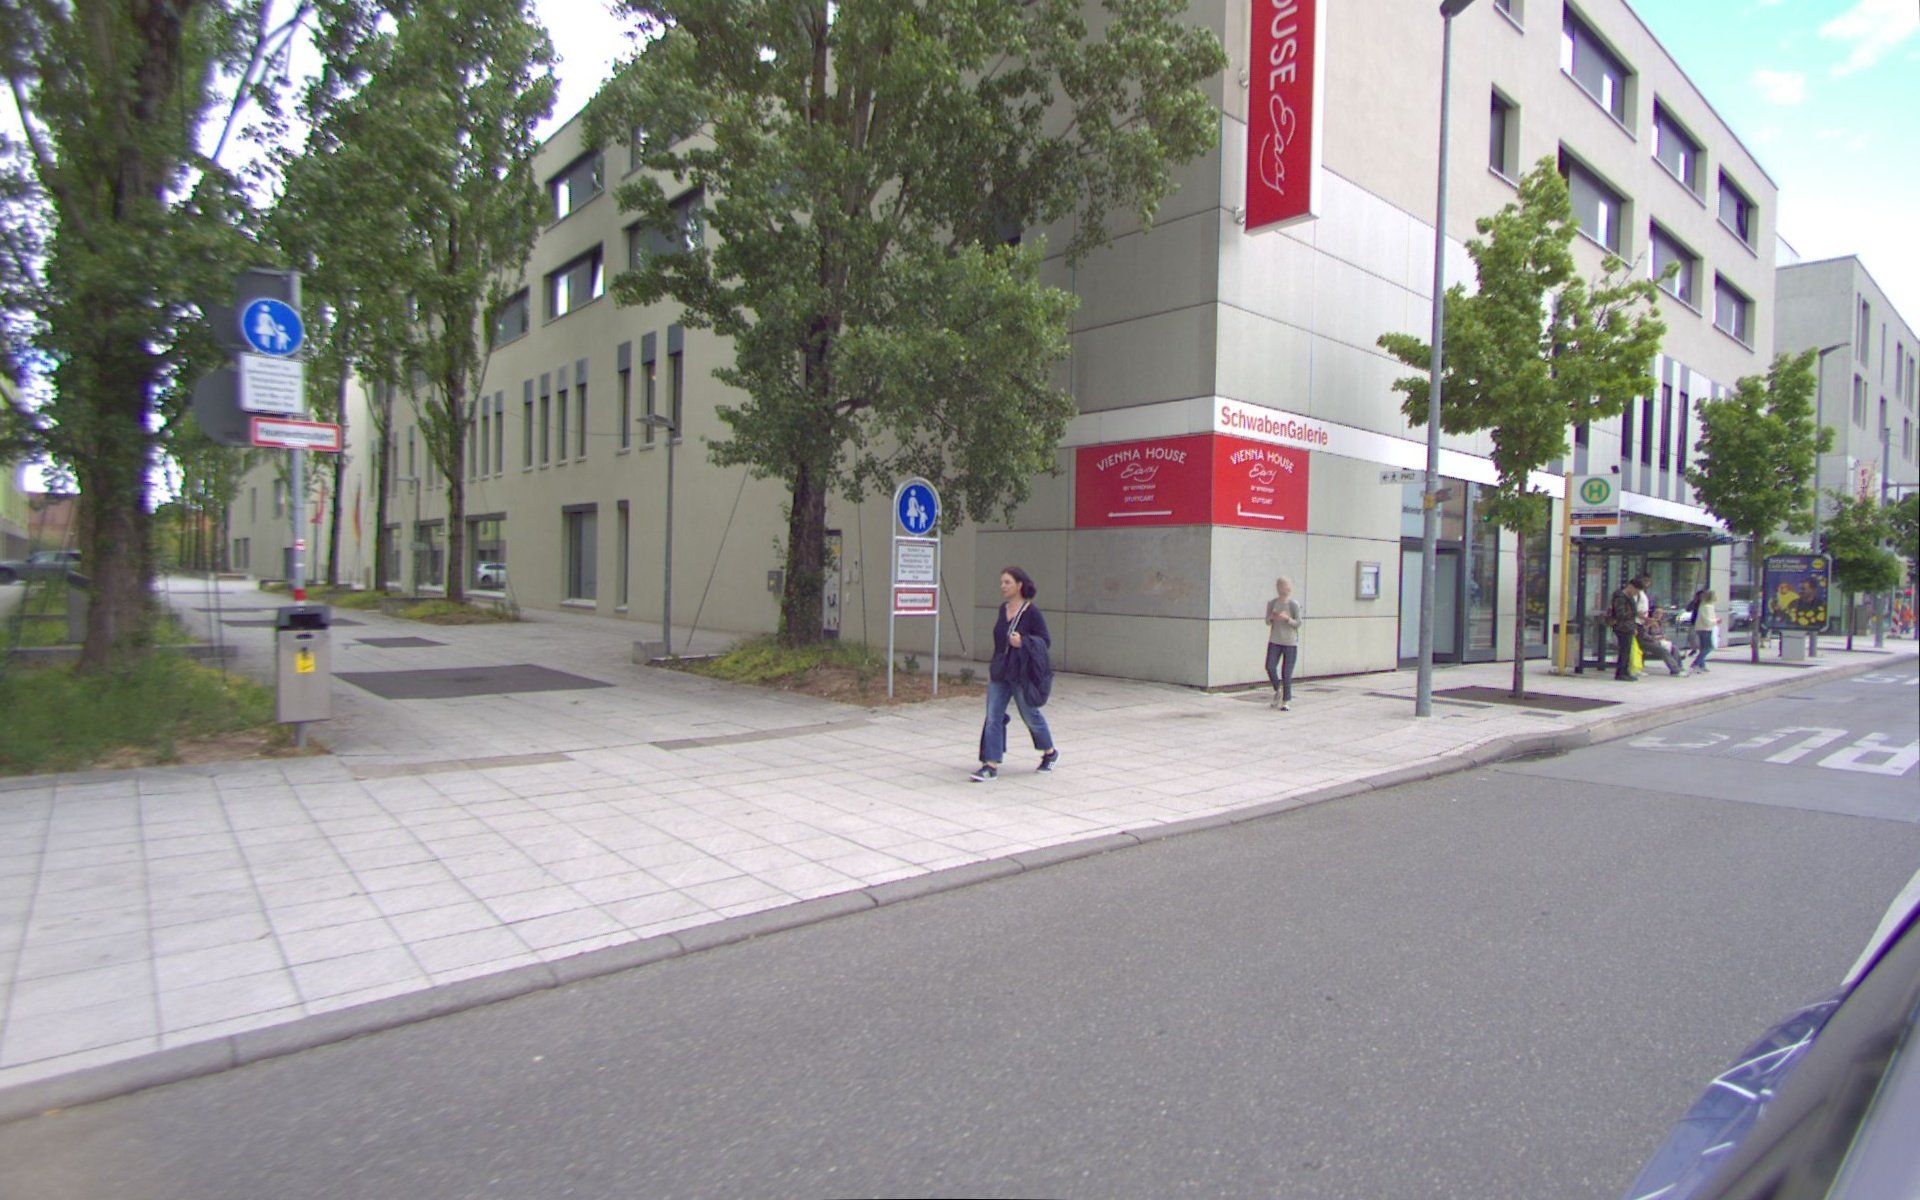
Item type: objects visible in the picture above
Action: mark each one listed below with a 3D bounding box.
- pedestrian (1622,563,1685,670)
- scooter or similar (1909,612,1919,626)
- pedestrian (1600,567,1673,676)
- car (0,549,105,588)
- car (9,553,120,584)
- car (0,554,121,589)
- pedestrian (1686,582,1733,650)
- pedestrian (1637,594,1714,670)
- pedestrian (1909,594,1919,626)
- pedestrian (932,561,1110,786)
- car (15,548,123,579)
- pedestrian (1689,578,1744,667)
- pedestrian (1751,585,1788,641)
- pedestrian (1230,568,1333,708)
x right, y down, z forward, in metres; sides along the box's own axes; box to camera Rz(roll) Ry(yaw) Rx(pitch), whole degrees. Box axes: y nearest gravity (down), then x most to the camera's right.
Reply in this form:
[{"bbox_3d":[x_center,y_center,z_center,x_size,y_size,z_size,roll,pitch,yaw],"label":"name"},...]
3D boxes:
[{"bbox_3d":[11.958,0.269,17.441,0.840,1.791,0.581,0,2,-35],"label":"pedestrian"},{"bbox_3d":[48.792,0.965,51.529,0.754,0.642,0.552,0,3,-41],"label":"scooter or similar"},{"bbox_3d":[11.053,0.328,16.537,0.719,1.704,0.723,0,2,-35],"label":"pedestrian"},{"bbox_3d":[-42.274,-1.416,46.368,4.707,1.675,1.739,0,0,-41],"label":"car"},{"bbox_3d":[-50.826,-1.775,57.570,4.707,1.675,1.739,0,0,-41],"label":"car"},{"bbox_3d":[-45.321,-1.378,50.951,4.707,1.675,1.739,0,0,-41],"label":"car"},{"bbox_3d":[18.385,0.381,24.826,0.702,1.628,0.742,0,1,-40],"label":"pedestrian"},{"bbox_3d":[12.778,0.548,18.080,0.720,1.274,0.944,0,3,-43],"label":"pedestrian"},{"bbox_3d":[48.297,0.519,50.961,0.719,1.586,0.590,0,3,-41],"label":"pedestrian"},{"bbox_3d":[0.472,0.509,7.914,0.998,1.603,0.949,0,2,-41],"label":"pedestrian"},{"bbox_3d":[-51.960,-2.090,59.142,4.707,1.675,1.739,0,0,-41],"label":"car"},{"bbox_3d":[14.104,0.409,18.871,0.719,1.610,0.581,0,2,-35],"label":"pedestrian"},{"bbox_3d":[25.063,0.398,31.340,0.603,1.690,0.746,0,1,-40],"label":"pedestrian"},{"bbox_3d":[3.865,0.423,12.171,0.790,1.603,0.870,0,2,-41],"label":"pedestrian"}]
